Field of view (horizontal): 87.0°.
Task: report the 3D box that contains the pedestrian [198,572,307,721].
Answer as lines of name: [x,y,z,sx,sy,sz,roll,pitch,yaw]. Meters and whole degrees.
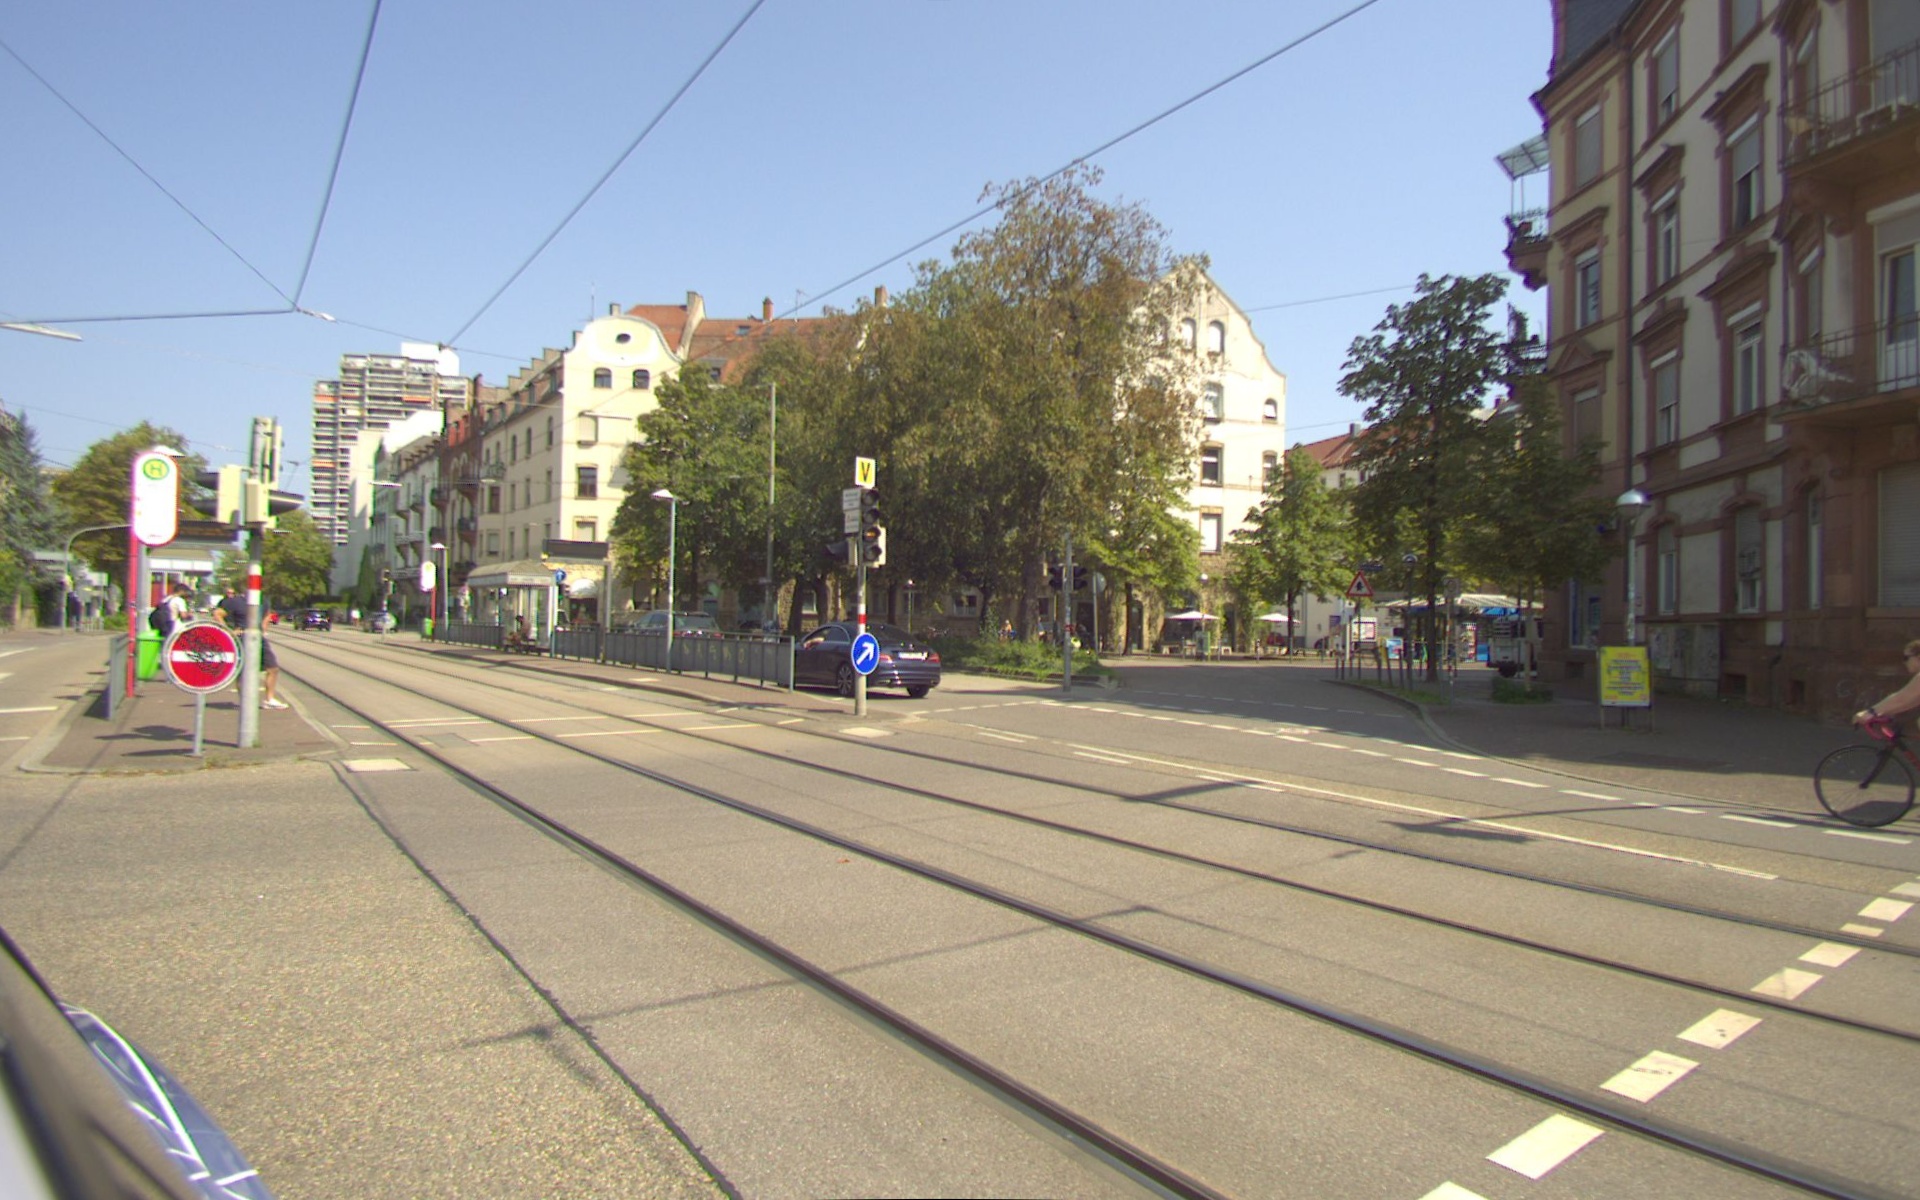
pedestrian: [-9.409,0.606,13.479,0.669,1.899,0.918,1,-2,16]

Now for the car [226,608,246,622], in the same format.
car: [-98.802,2.022,138.039,1.967,1.739,4.641,4,-3,-37]

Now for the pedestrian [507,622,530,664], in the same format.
pedestrian: [-13.762,1.337,31.525,0.472,1.260,0.650,3,-2,-37]

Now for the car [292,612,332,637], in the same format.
car: [-47.446,1.775,74.063,1.967,1.739,4.641,4,-3,-37]

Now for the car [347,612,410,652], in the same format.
car: [-27.529,1.497,47.820,1.967,1.739,4.641,4,-3,-36]

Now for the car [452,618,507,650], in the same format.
car: [-28.532,1.991,59.980,1.967,1.739,4.641,4,-3,-37]

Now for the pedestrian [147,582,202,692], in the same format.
pedestrian: [-13.943,0.657,17.989,0.664,1.899,0.925,2,-2,-35]

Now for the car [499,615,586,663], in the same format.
car: [-16.592,1.502,40.066,1.967,1.739,4.640,4,-3,-37]

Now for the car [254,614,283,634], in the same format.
car: [-65.123,2.222,95.307,1.967,1.739,4.641,4,-3,-37]

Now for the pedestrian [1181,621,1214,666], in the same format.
pedestrian: [10.917,1.987,46.523,1.019,2.029,1.098,1,-1,-33]

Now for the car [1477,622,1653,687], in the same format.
car: [19.873,1.778,33.301,4.942,2.029,2.173,2,-2,-16]

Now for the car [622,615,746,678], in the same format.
car: [-8.058,1.313,29.262,1.967,1.660,4.642,4,-3,-35]

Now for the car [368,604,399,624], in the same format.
car: [-55.682,1.369,97.720,1.967,1.739,4.641,4,-3,-37]

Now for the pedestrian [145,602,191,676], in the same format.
pedestrian: [-17.555,0.864,22.433,0.727,1.596,0.855,3,-2,-39]

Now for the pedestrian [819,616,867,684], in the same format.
pedestrian: [-3.568,1.502,30.849,1.077,2.029,1.038,1,-1,-38]

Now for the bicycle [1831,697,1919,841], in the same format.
bicycle: [7.937,1.340,7.744,0.573,1.074,1.847,3,-3,-38]

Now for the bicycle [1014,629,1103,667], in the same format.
bicycle: [4.047,1.970,41.754,3.472,1.447,1.210,0,-2,31]

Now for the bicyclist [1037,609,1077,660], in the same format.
bicyclist: [4.006,1.435,41.771,1.207,2.029,1.197,1,-1,30]

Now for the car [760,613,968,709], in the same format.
car: [-2.040,1.144,20.134,1.967,1.660,4.641,4,-3,-36]
